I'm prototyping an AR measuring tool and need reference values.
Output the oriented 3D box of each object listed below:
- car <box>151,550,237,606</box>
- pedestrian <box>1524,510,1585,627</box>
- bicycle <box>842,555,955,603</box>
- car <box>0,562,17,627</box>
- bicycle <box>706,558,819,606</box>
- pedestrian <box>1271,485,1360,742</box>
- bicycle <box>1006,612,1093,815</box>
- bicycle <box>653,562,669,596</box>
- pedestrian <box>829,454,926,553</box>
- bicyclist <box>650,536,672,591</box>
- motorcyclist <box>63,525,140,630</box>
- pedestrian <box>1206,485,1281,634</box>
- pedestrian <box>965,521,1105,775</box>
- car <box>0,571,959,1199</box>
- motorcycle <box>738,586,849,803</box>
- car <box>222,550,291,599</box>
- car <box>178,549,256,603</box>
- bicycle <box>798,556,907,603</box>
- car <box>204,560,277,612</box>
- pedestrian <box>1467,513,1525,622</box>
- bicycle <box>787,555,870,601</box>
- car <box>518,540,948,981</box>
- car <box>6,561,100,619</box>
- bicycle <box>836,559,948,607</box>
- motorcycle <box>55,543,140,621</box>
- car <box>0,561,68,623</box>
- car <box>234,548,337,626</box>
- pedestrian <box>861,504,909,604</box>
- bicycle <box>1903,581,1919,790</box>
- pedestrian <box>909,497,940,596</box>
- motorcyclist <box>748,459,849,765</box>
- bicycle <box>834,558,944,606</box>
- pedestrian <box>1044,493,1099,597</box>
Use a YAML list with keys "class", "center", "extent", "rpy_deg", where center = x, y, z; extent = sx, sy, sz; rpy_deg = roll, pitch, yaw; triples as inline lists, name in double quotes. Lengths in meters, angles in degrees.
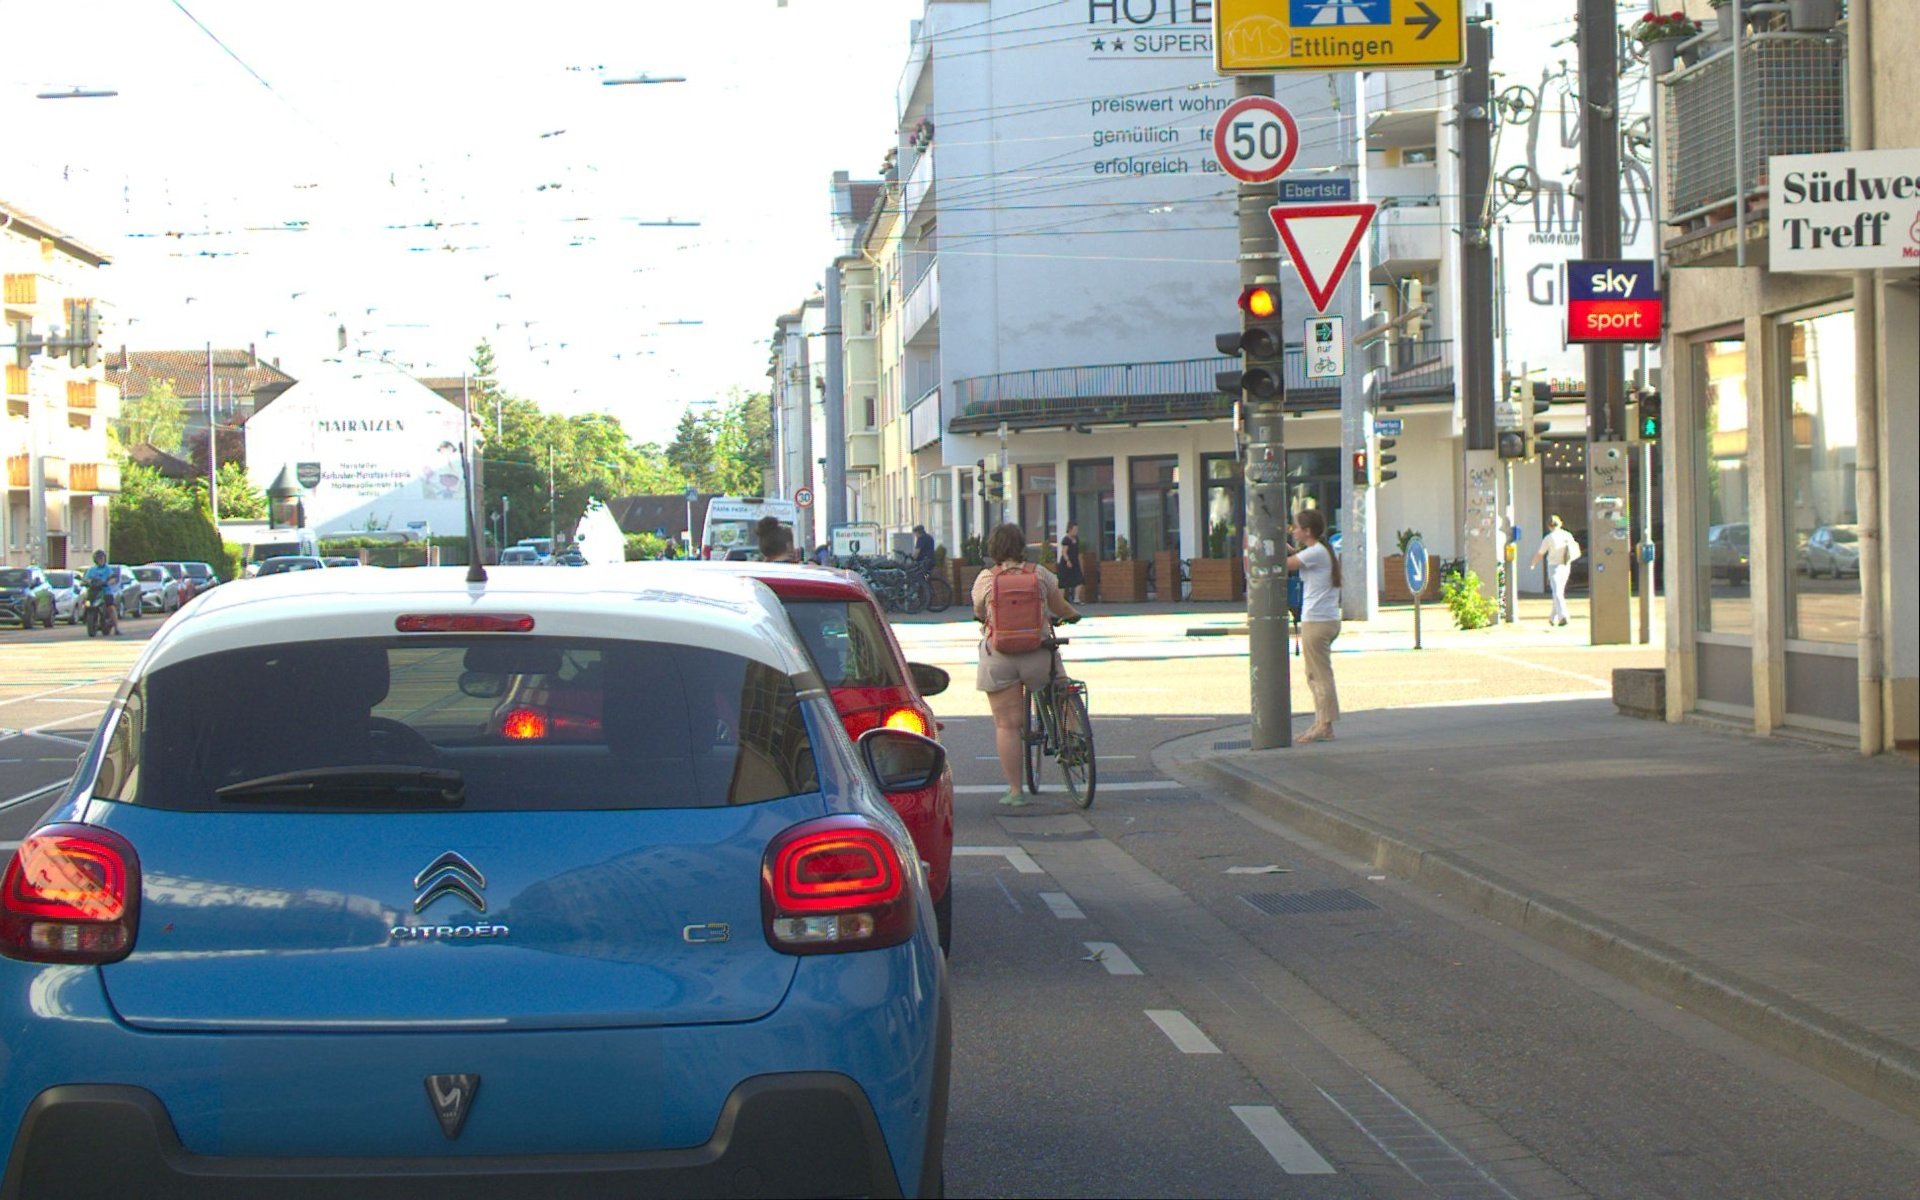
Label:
- class: "car"
  center: [-23.690, -0.694, 106.425]
  extent: [1.983, 1.681, 4.001]
  rpy_deg: [1, 1, -3]
- class: "pedestrian"
  center: [8.512, -0.448, 49.238]
  extent: [0.752, 1.652, 0.883]
  rpy_deg: [1, 0, 16]
- class: "bicycle"
  center: [-1.175, -0.399, 65.904]
  extent: [2.132, 0.898, 0.367]
  rpy_deg: [1, 0, -9]
- class: "car"
  center: [-23.146, -0.133, 79.252]
  extent: [1.787, 1.506, 4.150]
  rpy_deg: [1, 1, -2]
- class: "bicycle"
  center: [-3.808, -0.353, 66.227]
  extent: [2.132, 0.898, 0.367]
  rpy_deg: [1, 0, -9]
- class: "pedestrian"
  center: [2.499, 0.092, 24.192]
  extent: [0.517, 1.777, 0.595]
  rpy_deg: [1, 0, -2]
- class: "bicycle"
  center: [0.523, 0.650, 20.537]
  extent: [0.427, 1.119, 1.998]
  rpy_deg: [1, 1, -1]
- class: "bicycle"
  center: [-8.077, -0.579, 92.880]
  extent: [0.349, 0.900, 1.859]
  rpy_deg: [1, 1, -2]
- class: "pedestrian"
  center: [-1.749, -2.039, 73.546]
  extent: [1.993, 2.007, 4.000]
  rpy_deg: [1, 1, -1]
- class: "bicyclist"
  center: [-8.068, -0.989, 92.708]
  extent: [0.561, 1.472, 0.748]
  rpy_deg: [1, 0, -7]
- class: "motorcyclist"
  center: [-16.784, -0.444, 67.264]
  extent: [1.185, 2.007, 1.276]
  rpy_deg: [-1, 1, -3]
- class: "pedestrian"
  center: [3.859, -0.550, 46.925]
  extent: [0.926, 2.007, 0.759]
  rpy_deg: [1, 0, -1]
- class: "pedestrian"
  center: [0.434, 0.274, 20.229]
  extent: [0.777, 1.455, 0.682]
  rpy_deg: [1, 0, -1]
- class: "car"
  center: [-0.858, 0.672, 7.200]
  extent: [1.654, 1.439, 3.523]
  rpy_deg: [1, 1, -1]
- class: "motorcycle"
  center: [-0.925, 0.499, 19.452]
  extent: [0.526, 1.136, 2.290]
  rpy_deg: [1, 1, -1]
- class: "car"
  center: [-24.802, -0.894, 121.325]
  extent: [1.846, 1.681, 3.875]
  rpy_deg: [1, 1, -4]
- class: "car"
  center: [-24.028, -0.782, 111.327]
  extent: [1.882, 1.681, 4.001]
  rpy_deg: [1, 1, -4]
- class: "bicycle"
  center: [-2.134, -0.412, 68.359]
  extent: [2.132, 0.898, 0.367]
  rpy_deg: [1, 0, -9]
- class: "car"
  center: [-24.385, -0.490, 116.630]
  extent: [1.833, 1.681, 4.001]
  rpy_deg: [1, 1, -4]
- class: "pedestrian"
  center: [7.971, -0.488, 51.173]
  extent: [0.736, 1.595, 0.749]
  rpy_deg: [1, 0, 1]
- class: "bicycle"
  center: [-2.658, -0.441, 69.344]
  extent: [1.785, 0.898, 0.366]
  rpy_deg: [1, 1, 34]
- class: "car"
  center: [-0.785, 0.531, 13.105]
  extent: [1.424, 1.462, 2.924]
  rpy_deg: [-1, 0, -1]
- class: "car"
  center: [-24.279, -0.279, 92.159]
  extent: [1.732, 1.493, 4.001]
  rpy_deg: [1, 1, -5]
- class: "bicycle"
  center: [-1.329, -0.329, 67.233]
  extent: [2.132, 0.898, 0.367]
  rpy_deg: [1, 0, -9]
- class: "motorcycle"
  center: [-16.796, -0.360, 67.046]
  extent: [0.923, 1.481, 3.726]
  rpy_deg: [1, 1, -3]
- class: "car"
  center: [-23.619, -0.227, 86.041]
  extent: [1.785, 1.493, 4.001]
  rpy_deg: [1, 1, -4]
- class: "car"
  center: [-14.967, -0.308, 76.406]
  extent: [1.774, 1.660, 3.857]
  rpy_deg: [1, 1, -4]
- class: "pedestrian"
  center: [-1.516, -0.923, 69.234]
  extent: [0.630, 2.007, 0.724]
  rpy_deg: [1, 0, -36]
- class: "bicycle"
  center: [4.845, 0.416, 15.766]
  extent: [0.542, 0.995, 1.706]
  rpy_deg: [1, 1, -1]
- class: "pedestrian"
  center: [-0.733, -1.089, 70.192]
  extent: [0.577, 2.007, 0.626]
  rpy_deg: [1, 0, -3]
- class: "motorcyclist"
  center: [-0.917, 0.064, 19.635]
  extent: [0.526, 1.710, 0.717]
  rpy_deg: [1, 0, -1]
- class: "bicycle"
  center: [-1.400, -0.355, 67.664]
  extent: [2.132, 0.898, 0.367]
  rpy_deg: [1, 0, -9]
- class: "pedestrian"
  center: [2.166, -1.067, 66.913]
  extent: [0.709, 2.007, 0.759]
  rpy_deg: [0, 1, -43]
